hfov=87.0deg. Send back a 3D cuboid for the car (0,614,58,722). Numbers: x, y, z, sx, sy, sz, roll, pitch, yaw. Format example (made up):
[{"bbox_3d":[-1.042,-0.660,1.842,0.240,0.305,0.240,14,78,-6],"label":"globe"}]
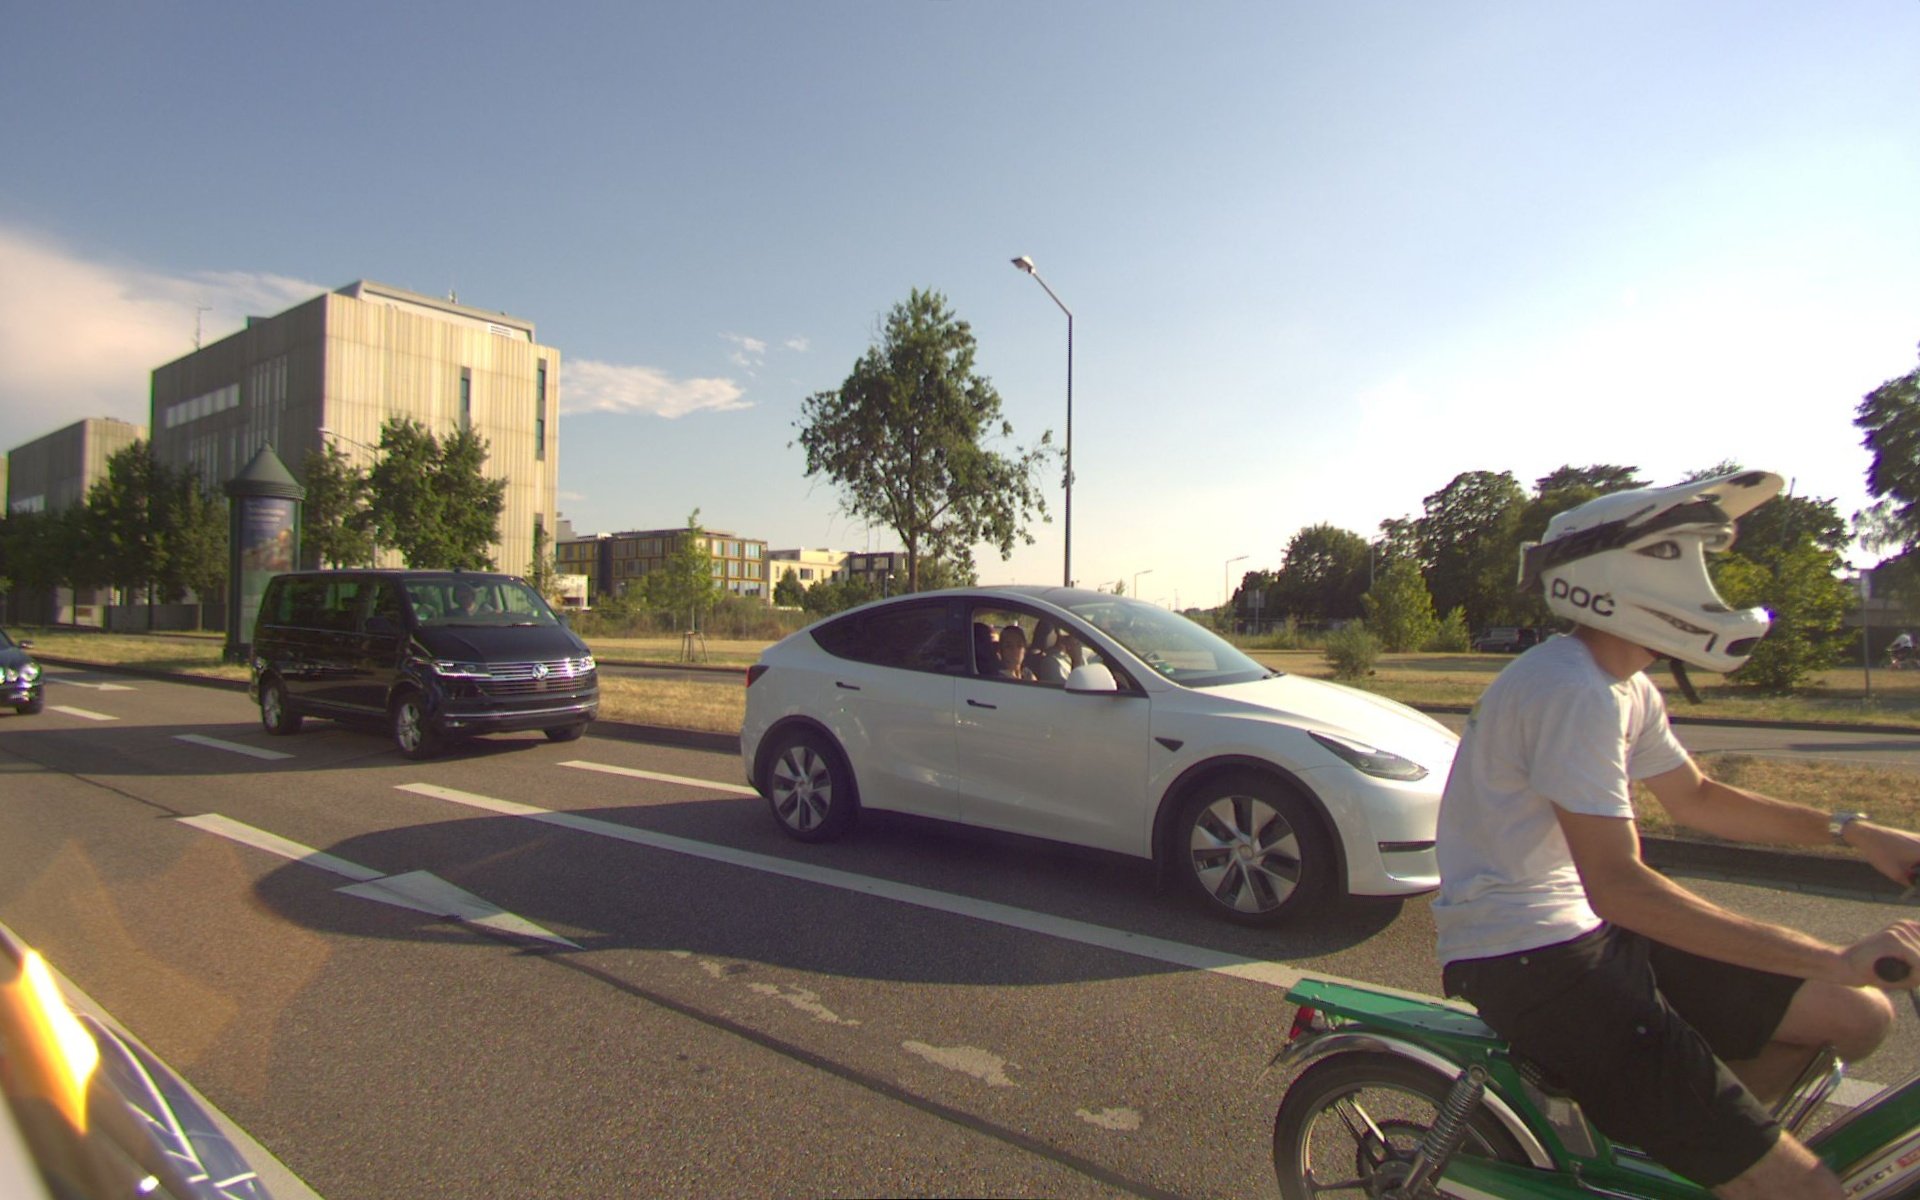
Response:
[{"bbox_3d":[-14.677,0.947,14.740,4.492,1.448,1.786,-2,-2,42],"label":"car"}]

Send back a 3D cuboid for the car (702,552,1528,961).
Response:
[{"bbox_3d":[0.640,0.655,6.098,4.669,1.611,1.719,-1,-1,37],"label":"car"}]

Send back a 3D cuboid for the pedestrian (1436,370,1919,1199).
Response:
[{"bbox_3d":[1.347,0.472,1.681,0.854,1.530,0.649,-1,-3,41],"label":"pedestrian"}]

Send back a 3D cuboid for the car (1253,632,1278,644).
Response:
[{"bbox_3d":[31.956,3.973,105.961,1.315,1.302,2.810,1,-2,-10],"label":"car"}]

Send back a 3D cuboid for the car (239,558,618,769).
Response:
[{"bbox_3d":[-6.205,0.608,11.559,5.003,1.947,1.839,-1,-1,36],"label":"car"}]

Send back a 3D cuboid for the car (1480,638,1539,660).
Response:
[{"bbox_3d":[41.062,3.634,75.756,1.631,1.537,4.407,0,-2,-6],"label":"car"}]

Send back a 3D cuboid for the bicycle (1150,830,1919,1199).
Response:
[{"bbox_3d":[1.240,0.976,1.642,1.855,0.882,0.472,-1,-2,41],"label":"bicycle"}]
